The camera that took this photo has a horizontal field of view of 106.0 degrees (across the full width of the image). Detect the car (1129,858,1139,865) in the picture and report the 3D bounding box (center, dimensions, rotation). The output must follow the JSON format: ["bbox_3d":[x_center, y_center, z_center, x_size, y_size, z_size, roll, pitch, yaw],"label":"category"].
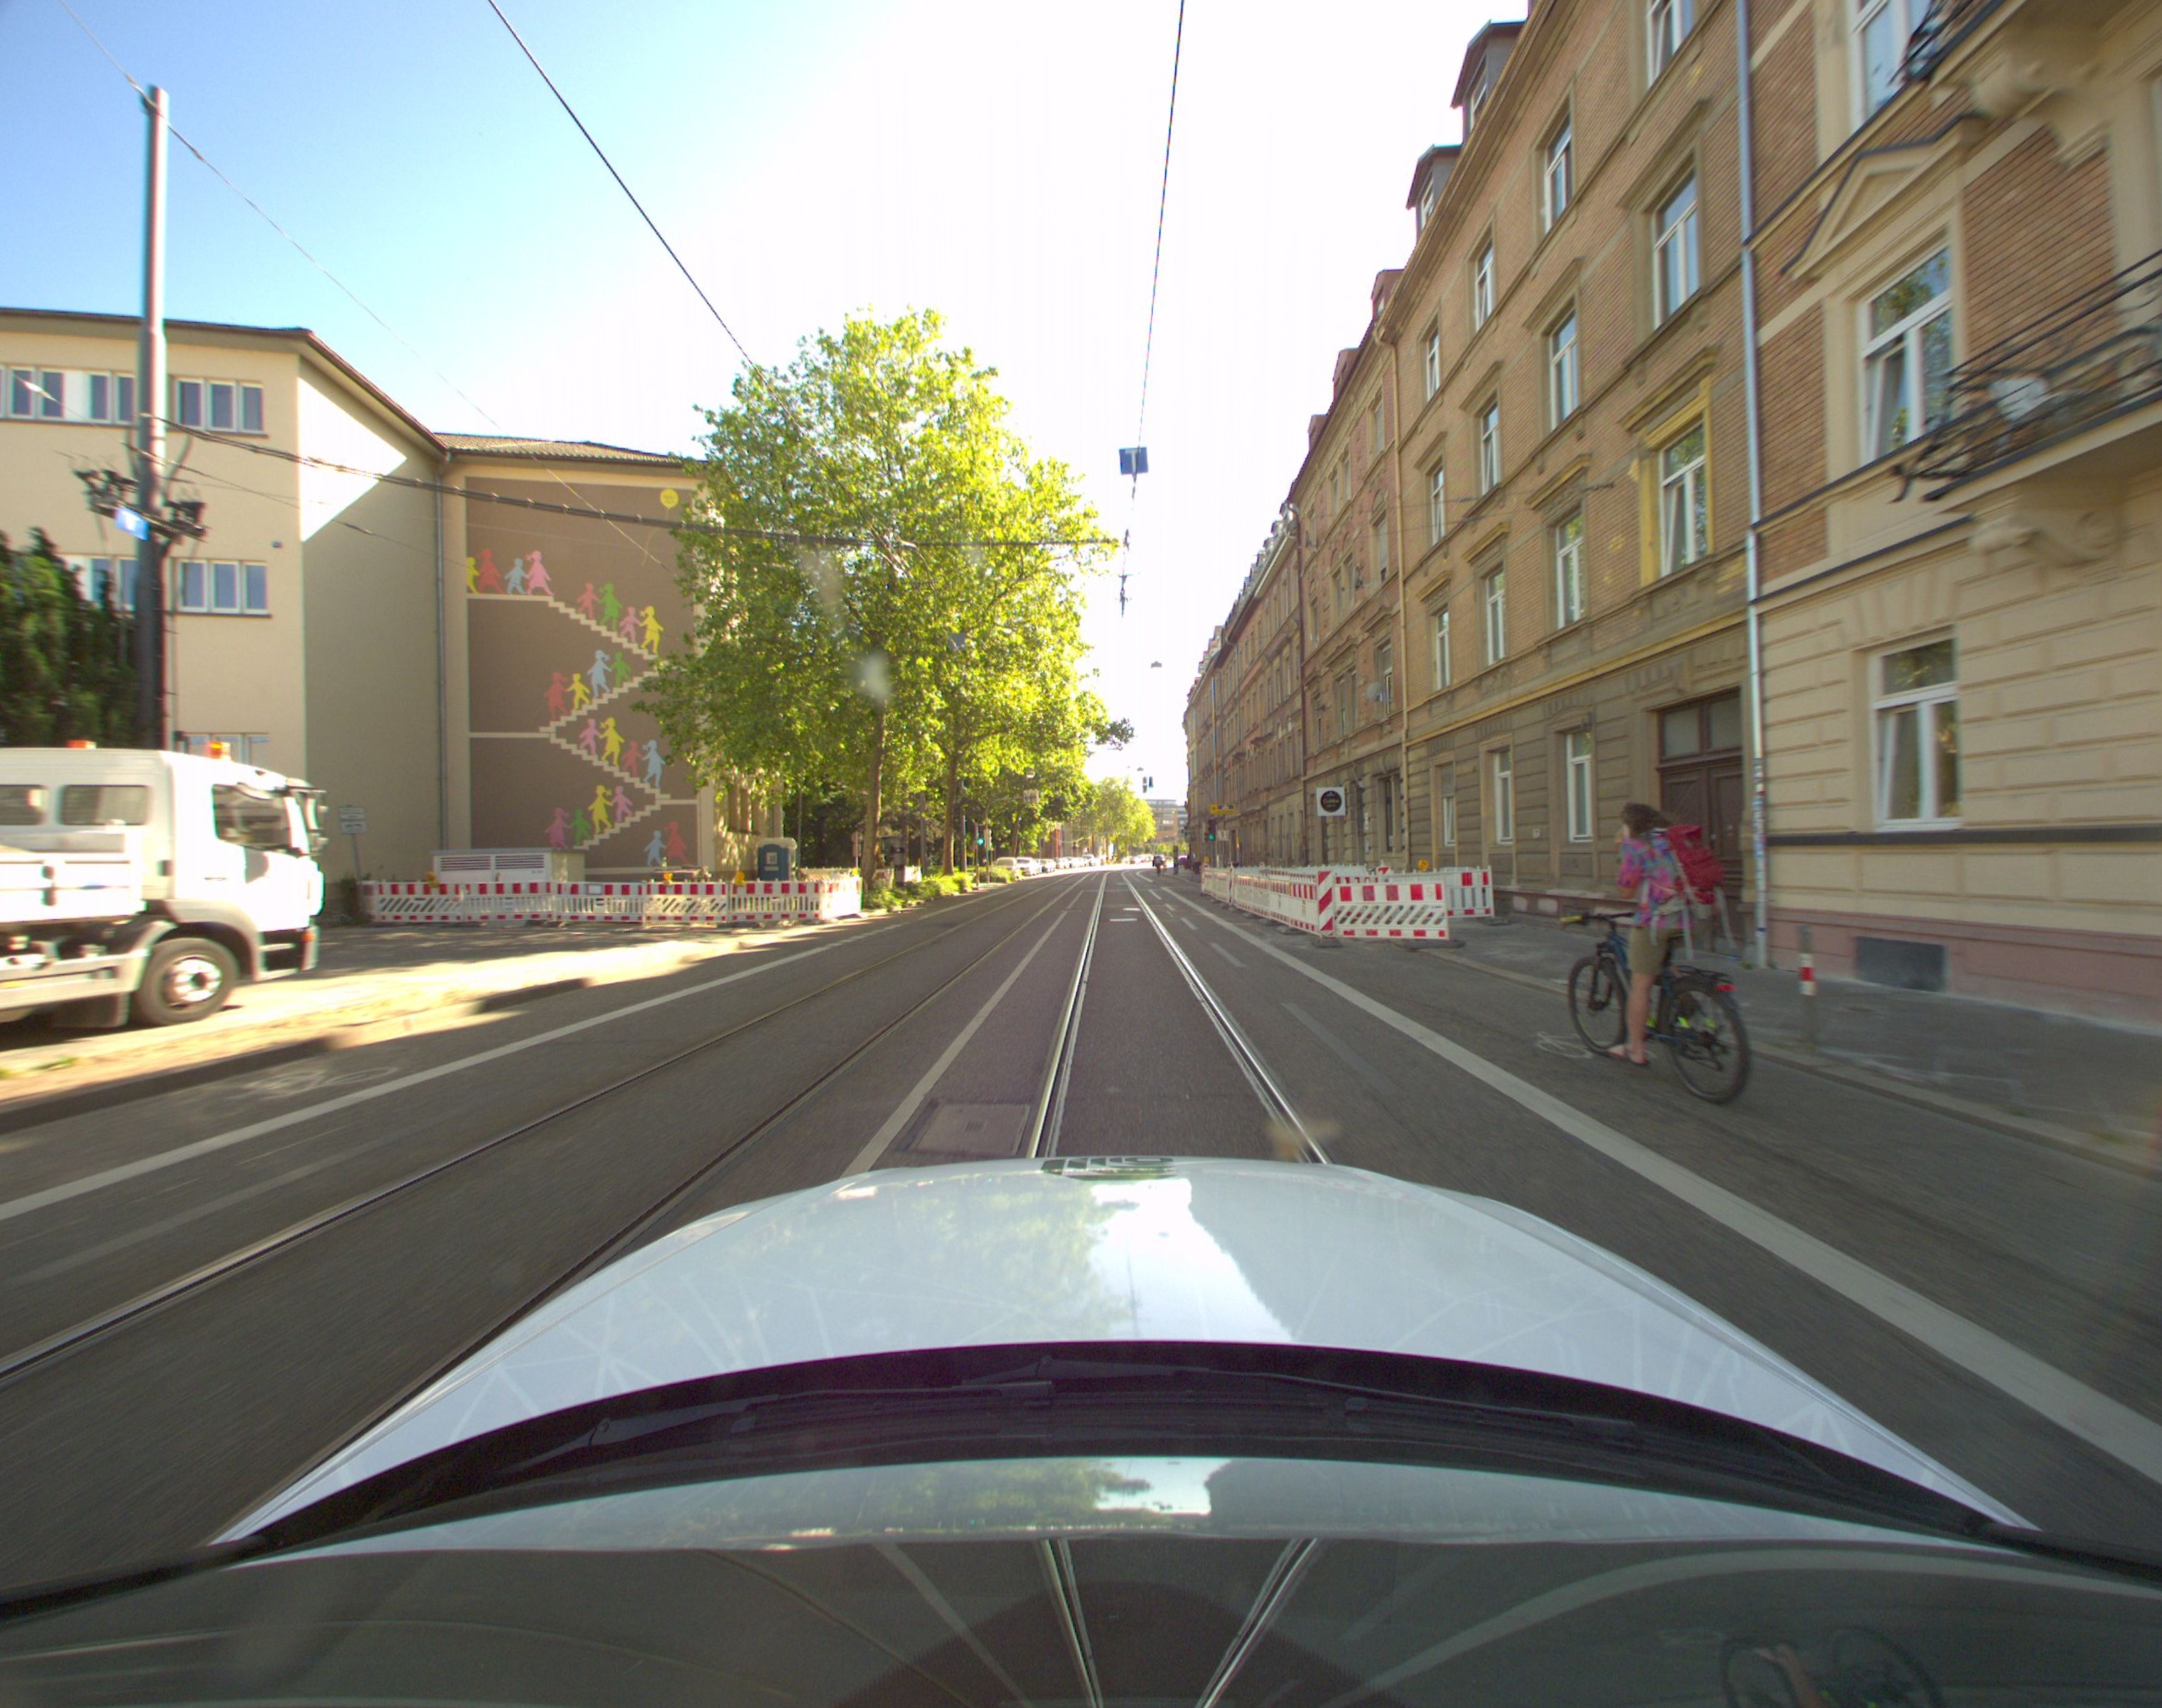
[{"bbox_3d":[10.926,1.523,168.196,1.739,1.422,4.051,0,-1,7],"label":"car"}]

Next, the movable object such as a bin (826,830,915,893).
[{"bbox_3d":[-9.426,0.330,37.125,2.487,2.645,5.987,0,0,-1],"label":"movable object such as a bin"}]

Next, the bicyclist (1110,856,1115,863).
[{"bbox_3d":[6.383,1.067,163.660,0.893,1.428,1.056,0,-1,11],"label":"bicyclist"}]

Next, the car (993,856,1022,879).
[{"bbox_3d":[-5.442,0.964,60.811,1.538,1.658,3.767,0,-1,5],"label":"car"}]

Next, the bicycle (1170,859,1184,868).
[{"bbox_3d":[12.106,1.250,102.296,0.633,1.118,2.311,0,-1,39],"label":"bicycle"}]

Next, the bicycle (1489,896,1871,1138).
[{"bbox_3d":[3.746,0.903,5.529,0.678,1.114,2.708,0,0,2],"label":"bicycle"}]

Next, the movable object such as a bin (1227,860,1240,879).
[{"bbox_3d":[8.879,0.882,47.484,0.618,1.110,0.780,0,-1,-1],"label":"movable object such as a bin"}]

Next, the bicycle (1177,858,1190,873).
[{"bbox_3d":[10.956,1.213,86.694,0.964,1.515,3.258,0,-1,14],"label":"bicycle"}]

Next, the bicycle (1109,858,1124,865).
[{"bbox_3d":[7.101,1.526,163.434,2.868,1.231,0.887,0,-1,12],"label":"bicycle"}]

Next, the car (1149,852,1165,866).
[{"bbox_3d":[10.932,0.693,117.393,1.985,2.014,4.002,0,-1,3],"label":"car"}]

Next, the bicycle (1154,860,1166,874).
[{"bbox_3d":[6.456,1.078,66.935,0.852,1.088,2.488,0,-1,2],"label":"bicycle"}]

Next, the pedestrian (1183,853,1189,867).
[{"bbox_3d":[14.151,0.864,110.134,0.779,1.889,0.973,0,-1,10],"label":"pedestrian"}]

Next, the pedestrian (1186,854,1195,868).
[{"bbox_3d":[14.413,0.899,107.523,1.050,1.760,1.333,0,-1,2],"label":"pedestrian"}]

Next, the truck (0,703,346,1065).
[{"bbox_3d":[-9.699,0.226,6.166,2.531,2.830,6.371,0,-1,-2],"label":"truck"}]

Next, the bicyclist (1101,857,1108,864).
[{"bbox_3d":[4.626,1.334,160.513,1.071,1.428,1.149,0,-1,10],"label":"bicyclist"}]

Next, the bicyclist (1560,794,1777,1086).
[{"bbox_3d":[3.738,0.506,5.282,0.664,1.697,1.043,0,-1,2],"label":"bicyclist"}]

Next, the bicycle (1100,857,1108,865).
[{"bbox_3d":[4.598,1.310,160.554,1.227,1.572,2.904,0,-1,9],"label":"bicycle"}]

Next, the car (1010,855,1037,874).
[{"bbox_3d":[-4.990,0.934,71.250,1.740,1.608,4.048,0,-1,5],"label":"car"}]

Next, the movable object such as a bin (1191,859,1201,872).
[{"bbox_3d":[9.291,0.943,65.671,0.671,1.036,0.814,-1,0,2],"label":"movable object such as a bin"}]

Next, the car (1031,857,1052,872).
[{"bbox_3d":[-4.174,1.145,86.849,1.740,1.509,4.048,0,-1,5],"label":"car"}]

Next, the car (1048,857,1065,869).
[{"bbox_3d":[-3.281,1.231,109.791,1.740,1.495,4.048,0,-1,5],"label":"car"}]

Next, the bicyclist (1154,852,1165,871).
[{"bbox_3d":[6.468,0.632,66.995,0.835,1.558,0.966,0,-1,1],"label":"bicyclist"}]

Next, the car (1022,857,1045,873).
[{"bbox_3d":[-4.752,1.078,81.348,1.740,1.587,4.048,0,-1,5],"label":"car"}]
